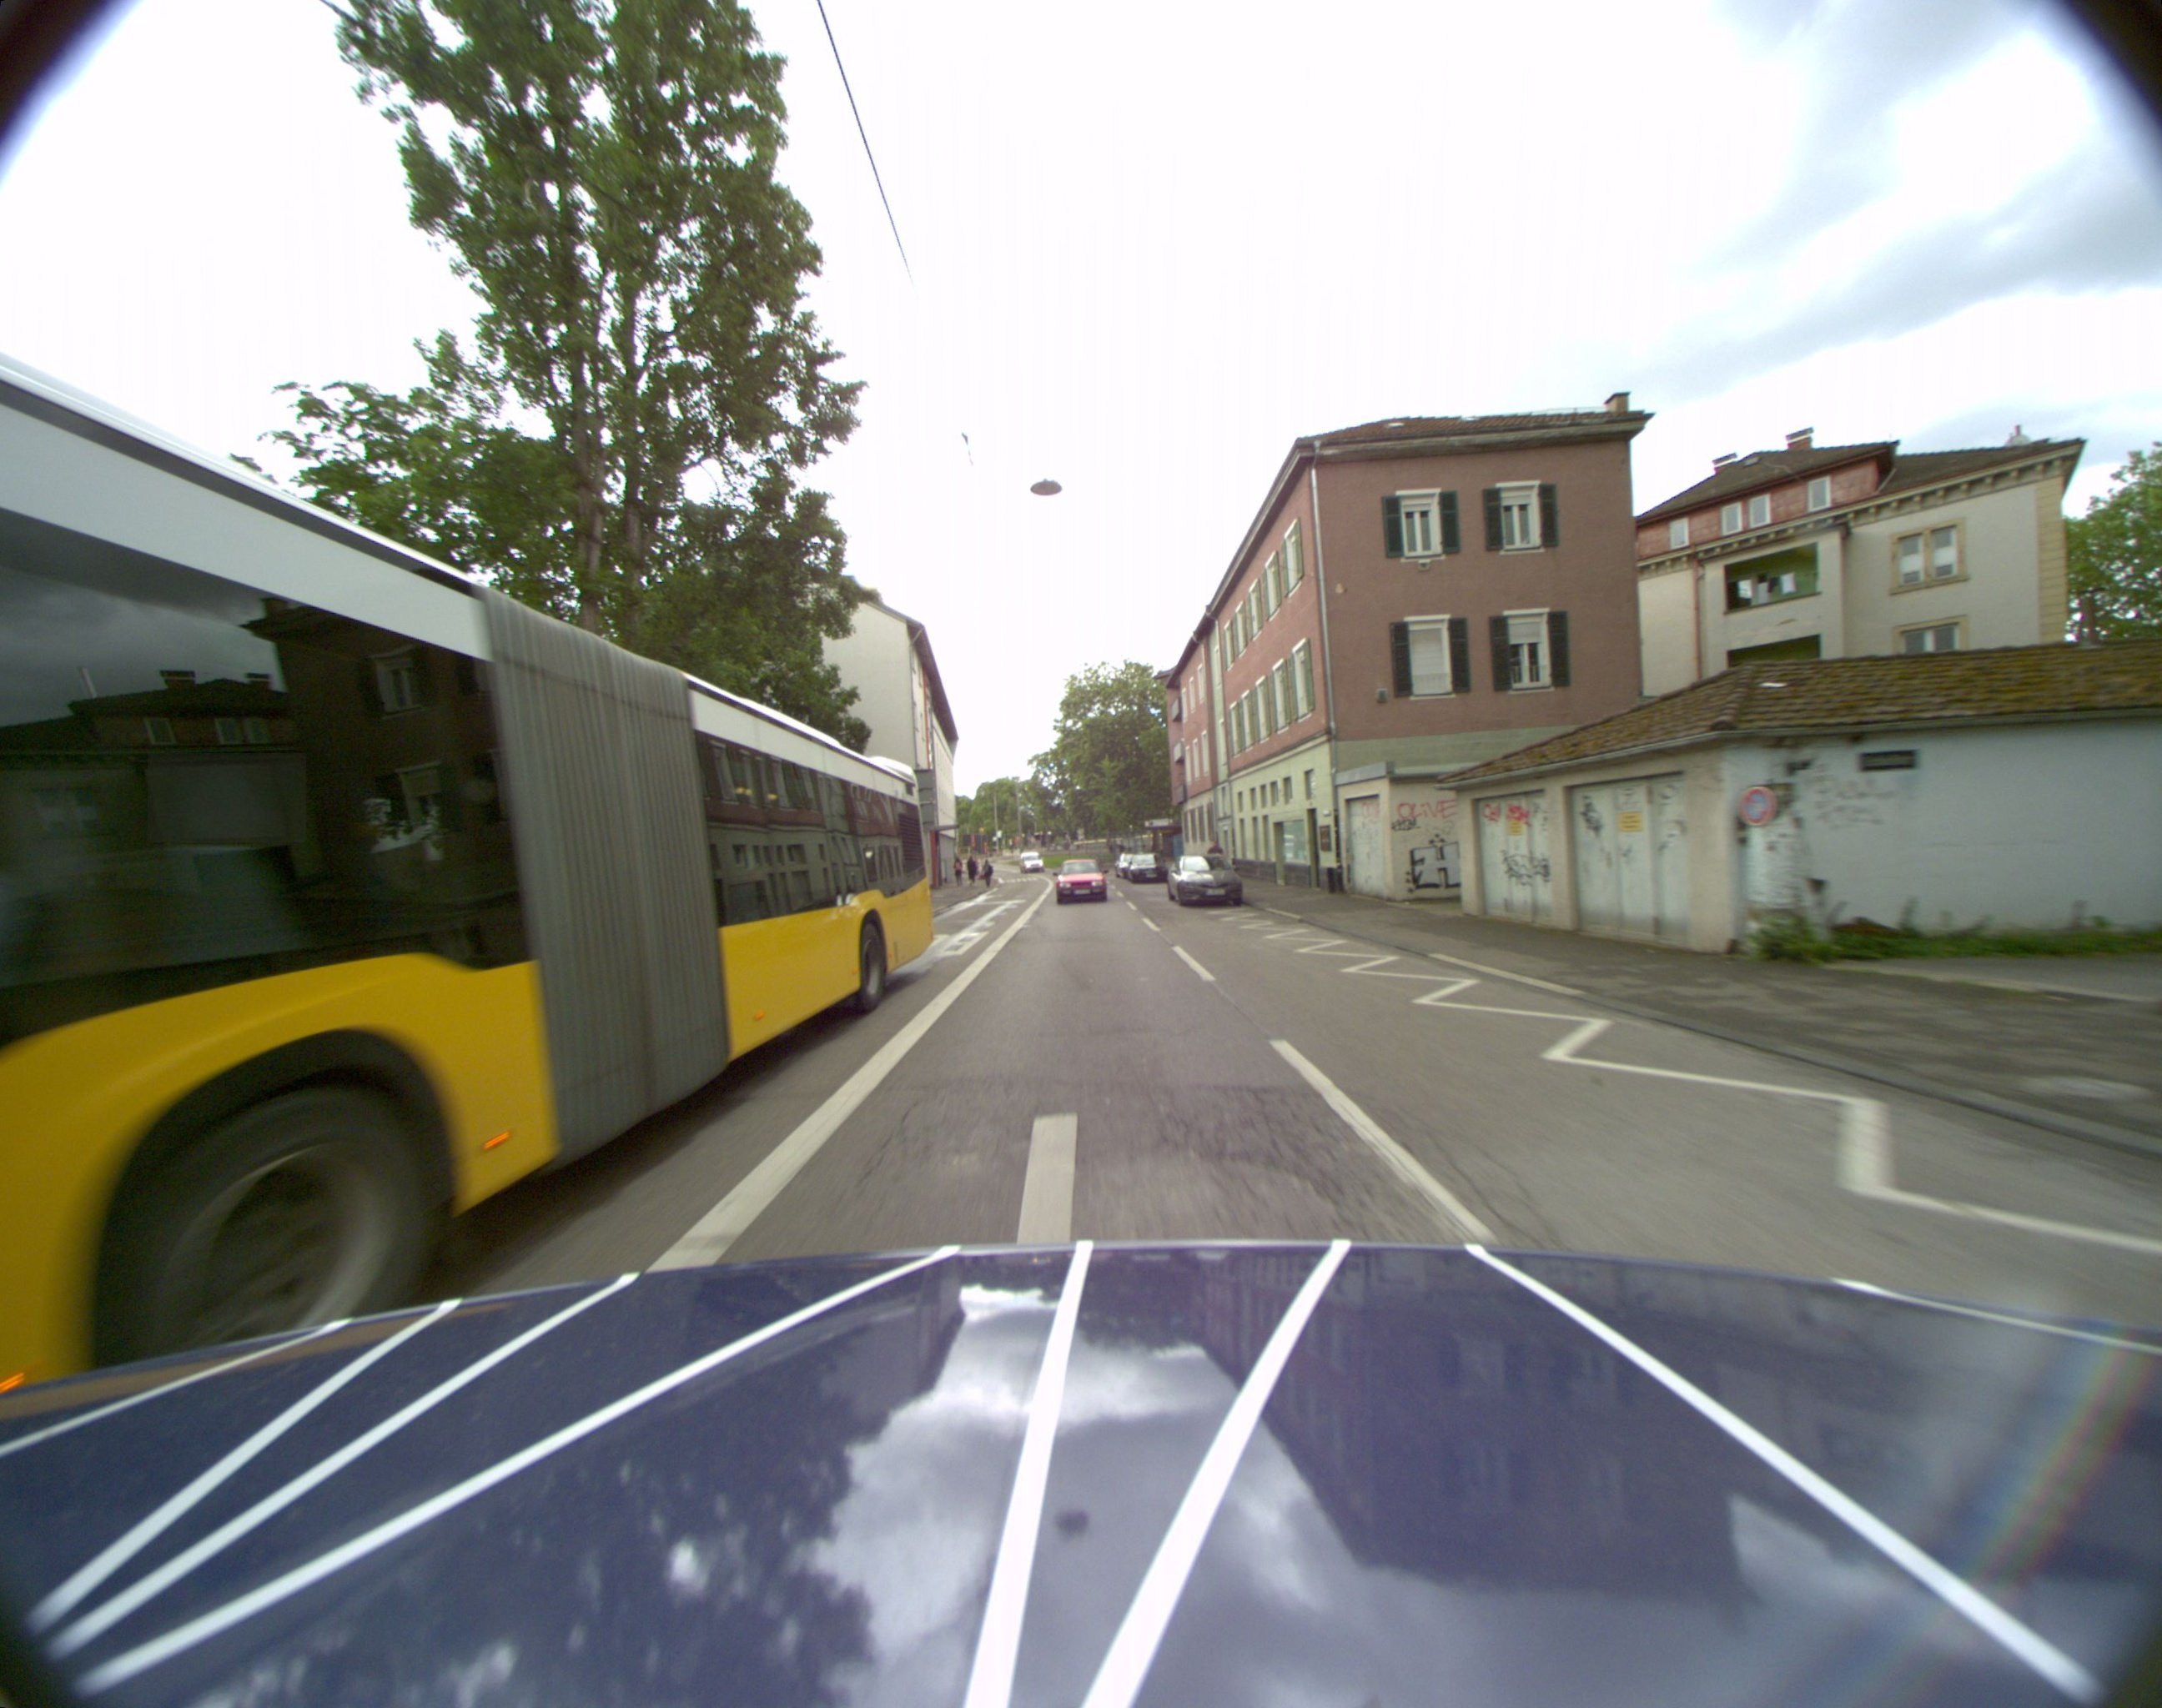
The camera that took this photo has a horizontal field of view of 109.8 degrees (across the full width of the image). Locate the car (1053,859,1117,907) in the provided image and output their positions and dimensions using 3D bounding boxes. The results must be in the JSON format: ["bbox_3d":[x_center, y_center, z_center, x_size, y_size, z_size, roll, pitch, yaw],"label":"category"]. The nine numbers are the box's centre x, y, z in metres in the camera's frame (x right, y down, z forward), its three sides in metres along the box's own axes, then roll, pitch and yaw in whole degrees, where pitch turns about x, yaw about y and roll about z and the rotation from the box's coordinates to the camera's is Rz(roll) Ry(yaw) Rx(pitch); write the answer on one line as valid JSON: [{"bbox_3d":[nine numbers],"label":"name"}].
[{"bbox_3d":[0.061,0.953,26.334,1.850,1.414,4.172,-3,-1,-4],"label":"car"}]

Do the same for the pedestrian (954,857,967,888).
[{"bbox_3d":[-6.973,1.054,43.931,0.543,1.746,0.609,-2,-1,7],"label":"pedestrian"}]

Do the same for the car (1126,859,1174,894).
[{"bbox_3d":[3.446,1.111,39.037,1.834,1.446,4.920,-4,1,-1],"label":"car"}]

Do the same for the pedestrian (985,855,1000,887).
[{"bbox_3d":[-5.129,0.989,43.953,0.805,1.783,0.942,-2,-1,-6],"label":"pedestrian"}]

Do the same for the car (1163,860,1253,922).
[{"bbox_3d":[3.695,1.027,22.763,1.883,1.477,4.127,-6,0,0],"label":"car"}]

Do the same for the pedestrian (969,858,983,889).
[{"bbox_3d":[-6.072,1.131,43.962,0.689,1.746,0.878,-2,-1,-6],"label":"pedestrian"}]

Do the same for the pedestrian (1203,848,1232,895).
[{"bbox_3d":[5.422,0.693,30.152,0.763,1.733,0.984,-6,0,-2],"label":"pedestrian"}]

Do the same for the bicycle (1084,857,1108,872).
[{"bbox_3d":[1.254,0.907,64.865,1.875,1.107,0.577,-6,2,-4],"label":"bicycle"}]

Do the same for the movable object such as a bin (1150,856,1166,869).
[{"bbox_3d":[6.477,0.724,64.045,0.674,0.959,1.077,-10,3,-43],"label":"movable object such as a bin"}]

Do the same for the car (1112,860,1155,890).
[{"bbox_3d":[3.036,1.173,44.668,1.834,1.446,4.582,-4,1,-4],"label":"car"}]

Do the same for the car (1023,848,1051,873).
[{"bbox_3d":[-4.059,0.540,69.408,2.073,1.776,4.452,-7,4,-6],"label":"car"}]

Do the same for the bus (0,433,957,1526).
[{"bbox_3d":[-3.568,0.466,7.256,2.669,3.117,10.040,-6,0,1],"label":"bus"}]

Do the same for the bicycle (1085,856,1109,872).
[{"bbox_3d":[1.360,0.848,63.622,1.809,1.169,0.723,-7,2,-25],"label":"bicycle"}]
